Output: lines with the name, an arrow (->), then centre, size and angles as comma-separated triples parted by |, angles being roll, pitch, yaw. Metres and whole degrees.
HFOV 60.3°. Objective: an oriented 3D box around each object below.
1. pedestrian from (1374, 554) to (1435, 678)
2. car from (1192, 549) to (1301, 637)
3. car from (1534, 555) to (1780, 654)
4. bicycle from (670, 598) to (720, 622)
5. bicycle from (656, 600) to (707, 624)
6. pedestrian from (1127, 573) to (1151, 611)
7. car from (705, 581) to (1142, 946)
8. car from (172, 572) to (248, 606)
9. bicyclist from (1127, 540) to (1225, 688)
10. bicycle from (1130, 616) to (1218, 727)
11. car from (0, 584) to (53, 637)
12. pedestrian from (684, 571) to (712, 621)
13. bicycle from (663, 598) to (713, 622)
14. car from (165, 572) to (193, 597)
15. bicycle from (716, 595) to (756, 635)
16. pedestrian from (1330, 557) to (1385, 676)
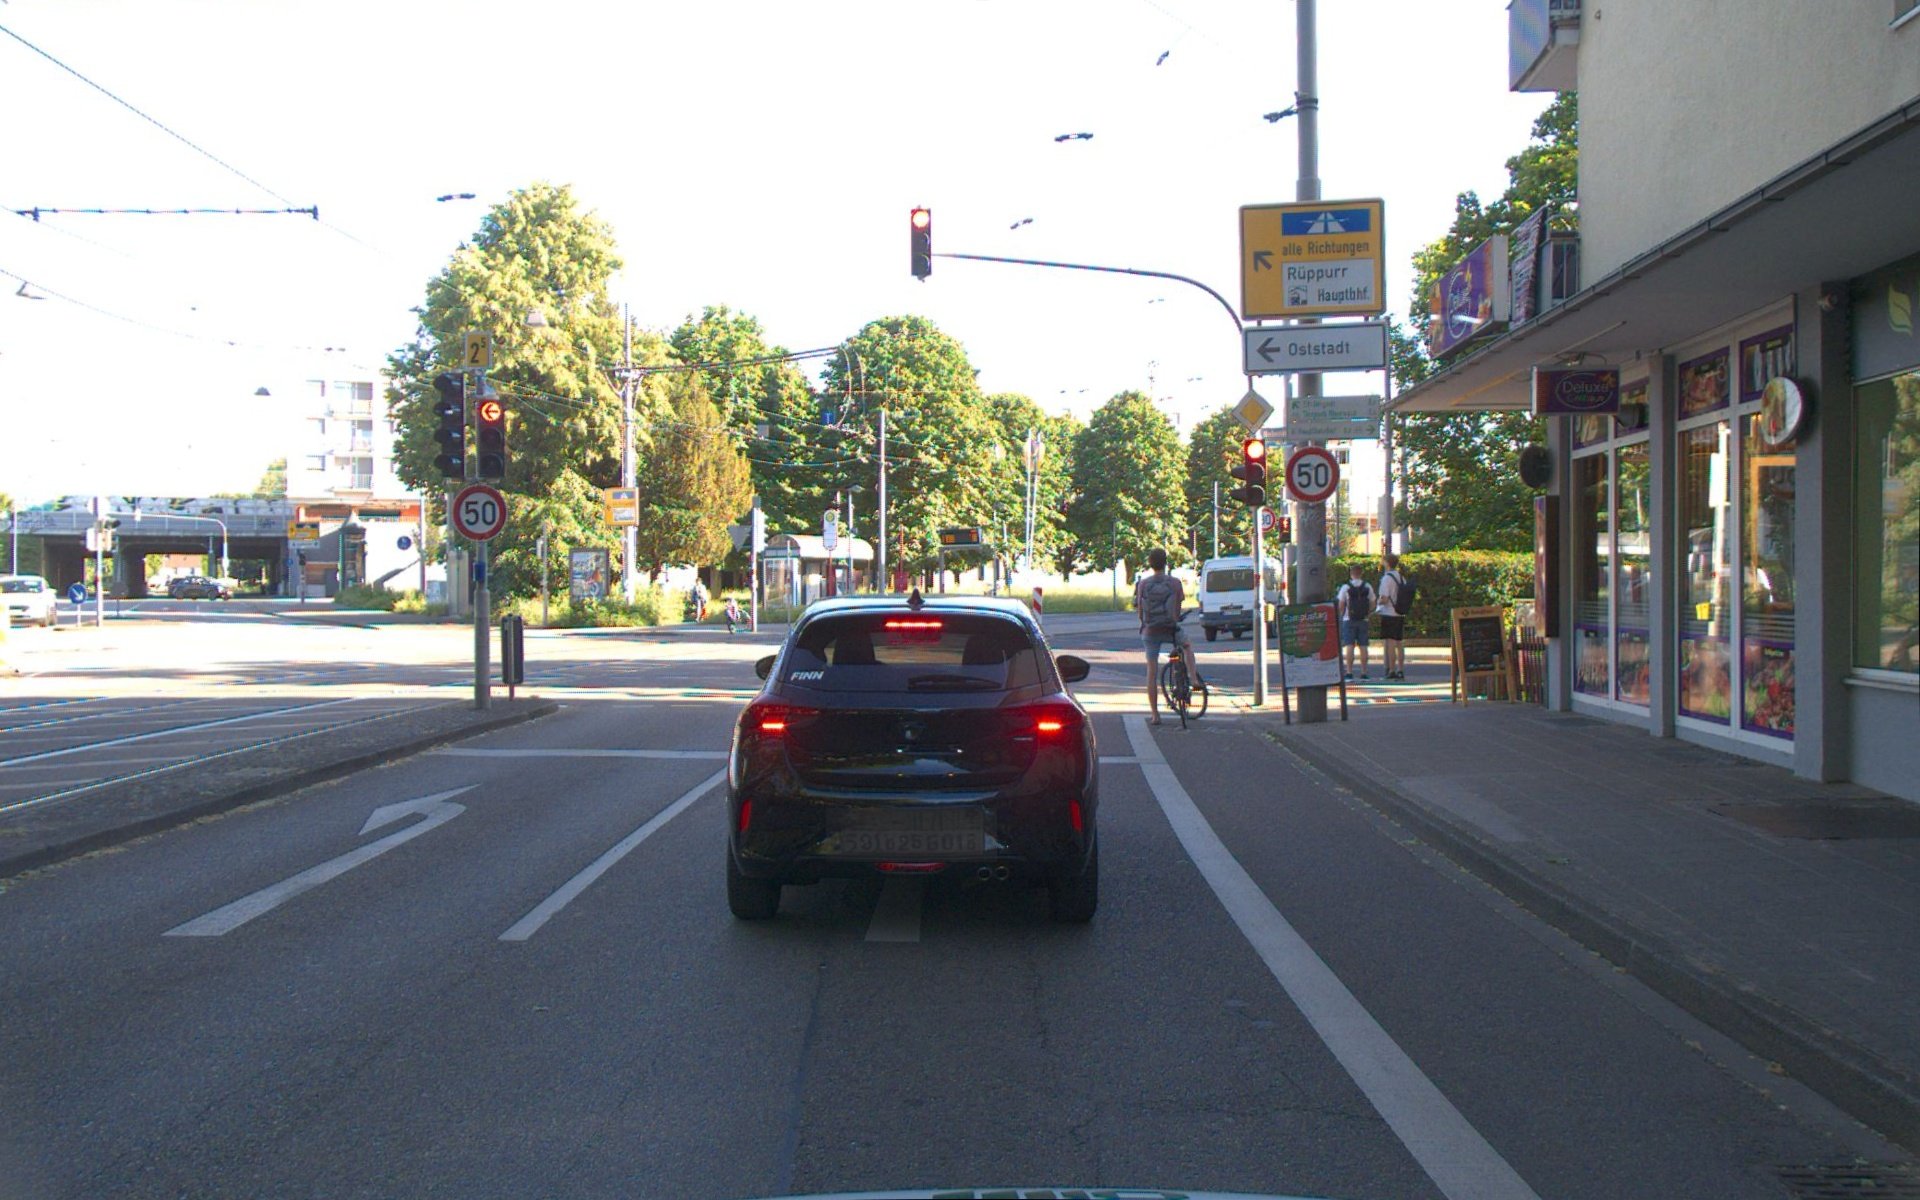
pedestrian -> 6.897, 0.235, 25.664 | 0.691, 1.878, 0.697 | 0, 0, 39
car -> 8.035, -0.179, 46.130 | 2.047, 2.317, 4.304 | 1, 0, 23
car -> 13.581, 0.126, 32.457 | 4.087, 1.846, 1.807 | 0, -2, 8
bicycle -> -10.494, 0.406, 65.511 | 1.837, 0.922, 0.660 | 0, 0, 6
bicycle -> -10.707, 0.456, 63.652 | 1.837, 0.922, 0.660 | 0, 0, 6
pedestrian -> 8.842, -0.395, 81.629 | 0.939, 1.824, 0.995 | 0, 0, 25
car -> -0.124, 0.643, 8.680 | 1.763, 1.466, 3.940 | 0, 1, 1
car -> -48.029, -0.695, 105.940 | 3.903, 2.049, 2.001 | 1, 0, 4
bicyclist -> 2.309, 0.138, 17.827 | 0.823, 1.536, 1.368 | 0, 0, -3
bicycle -> 2.291, 0.736, 17.896 | 0.653, 1.078, 2.082 | 0, 1, -1
car -> -31.479, 0.318, 54.999 | 1.976, 1.660, 4.577 | -1, 1, -33
pedestrian -> -9.218, -0.143, 58.170 | 0.710, 1.722, 0.701 | 0, 0, 21
bicycle -> -10.627, 0.401, 64.638 | 1.837, 0.922, 0.660 | 0, 0, 6
car -> -65.502, -1.311, 138.690 | 1.970, 2.049, 3.965 | 1, 0, -27
bicycle -> -6.279, 0.402, 46.513 | 0.808, 1.078, 1.883 | 0, 1, 2
pedestrian -> 6.144, 0.251, 25.605 | 0.684, 1.823, 0.617 | 0, 0, -1
